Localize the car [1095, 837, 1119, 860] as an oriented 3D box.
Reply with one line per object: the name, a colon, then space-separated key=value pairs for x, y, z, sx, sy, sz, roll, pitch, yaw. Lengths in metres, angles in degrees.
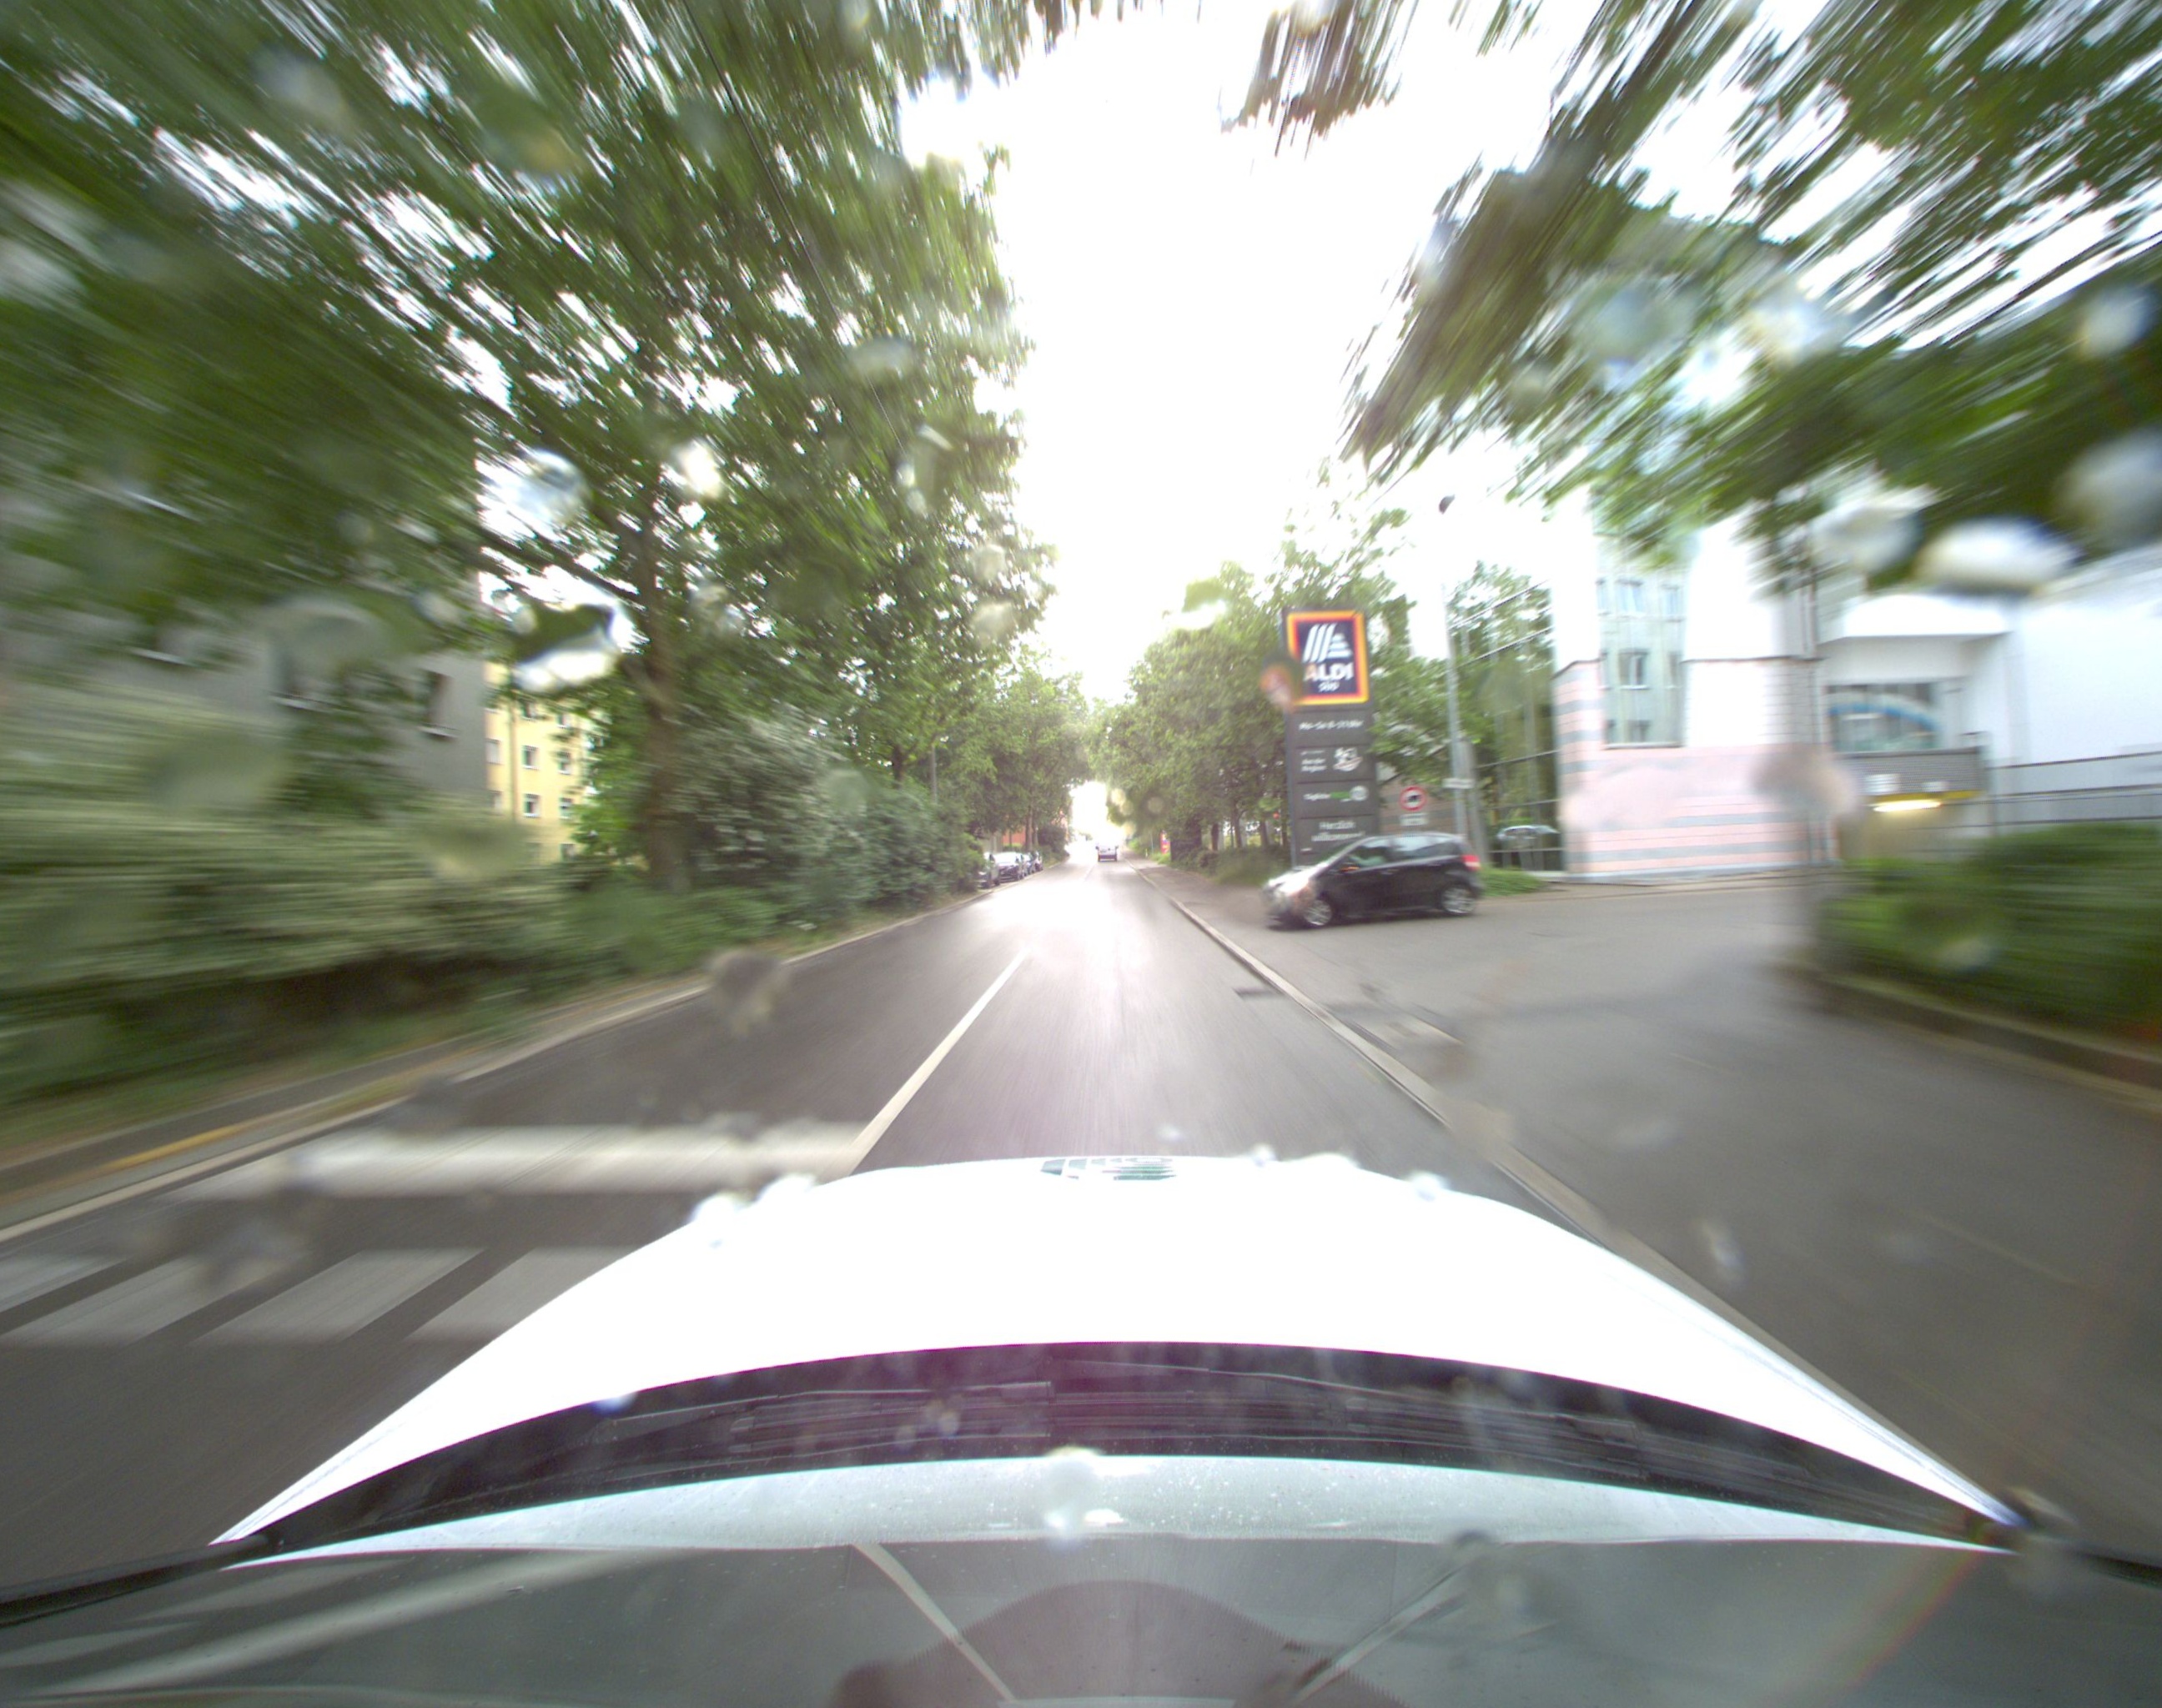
car: x=2.738 y=-0.562 z=84.531 sx=2.327 sy=2.231 sz=4.002 roll=-3 pitch=-1 yaw=2

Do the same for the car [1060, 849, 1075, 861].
car: x=-1.886 y=0.160 z=114.822 sx=1.684 sy=1.542 sz=4.119 roll=-3 pitch=0 yaw=2

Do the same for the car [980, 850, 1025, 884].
car: x=-4.176 y=0.680 z=44.005 sx=1.859 sy=1.591 sz=4.239 roll=-5 pitch=0 yaw=0

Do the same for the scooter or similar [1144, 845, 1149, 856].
scooter or similar: x=6.789 y=-0.351 z=84.693 sx=0.424 sy=1.142 sz=1.529 roll=-1 pitch=-1 yaw=0

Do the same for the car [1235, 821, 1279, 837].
car: x=17.578 y=-2.499 z=81.472 sx=4.085 sy=1.376 sz=1.904 roll=-2 pitch=0 yaw=1

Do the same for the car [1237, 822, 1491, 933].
car: x=5.081 y=0.397 z=14.989 sx=3.842 sy=1.547 sz=2.023 roll=-5 pitch=0 yaw=-5

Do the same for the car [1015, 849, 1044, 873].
car: x=-3.761 y=0.470 z=59.970 sx=1.642 sy=1.537 sz=4.019 roll=-6 pitch=0 yaw=1

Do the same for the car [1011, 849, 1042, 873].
car: x=-3.591 y=0.458 z=54.133 sx=1.665 sy=1.508 sz=3.876 roll=0 pitch=1 yaw=2

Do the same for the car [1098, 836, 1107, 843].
car: x=5.550 y=-3.737 z=209.985 sx=2.148 sy=1.709 sz=3.879 roll=-1 pitch=-1 yaw=6

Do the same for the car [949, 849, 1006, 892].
car: x=-4.793 y=0.709 z=38.467 sx=1.727 sy=1.657 sz=4.568 roll=-6 pitch=1 yaw=3

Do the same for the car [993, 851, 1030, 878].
car: x=-4.173 y=0.601 z=49.531 sx=1.665 sy=1.508 sz=4.127 roll=-1 pitch=0 yaw=3
